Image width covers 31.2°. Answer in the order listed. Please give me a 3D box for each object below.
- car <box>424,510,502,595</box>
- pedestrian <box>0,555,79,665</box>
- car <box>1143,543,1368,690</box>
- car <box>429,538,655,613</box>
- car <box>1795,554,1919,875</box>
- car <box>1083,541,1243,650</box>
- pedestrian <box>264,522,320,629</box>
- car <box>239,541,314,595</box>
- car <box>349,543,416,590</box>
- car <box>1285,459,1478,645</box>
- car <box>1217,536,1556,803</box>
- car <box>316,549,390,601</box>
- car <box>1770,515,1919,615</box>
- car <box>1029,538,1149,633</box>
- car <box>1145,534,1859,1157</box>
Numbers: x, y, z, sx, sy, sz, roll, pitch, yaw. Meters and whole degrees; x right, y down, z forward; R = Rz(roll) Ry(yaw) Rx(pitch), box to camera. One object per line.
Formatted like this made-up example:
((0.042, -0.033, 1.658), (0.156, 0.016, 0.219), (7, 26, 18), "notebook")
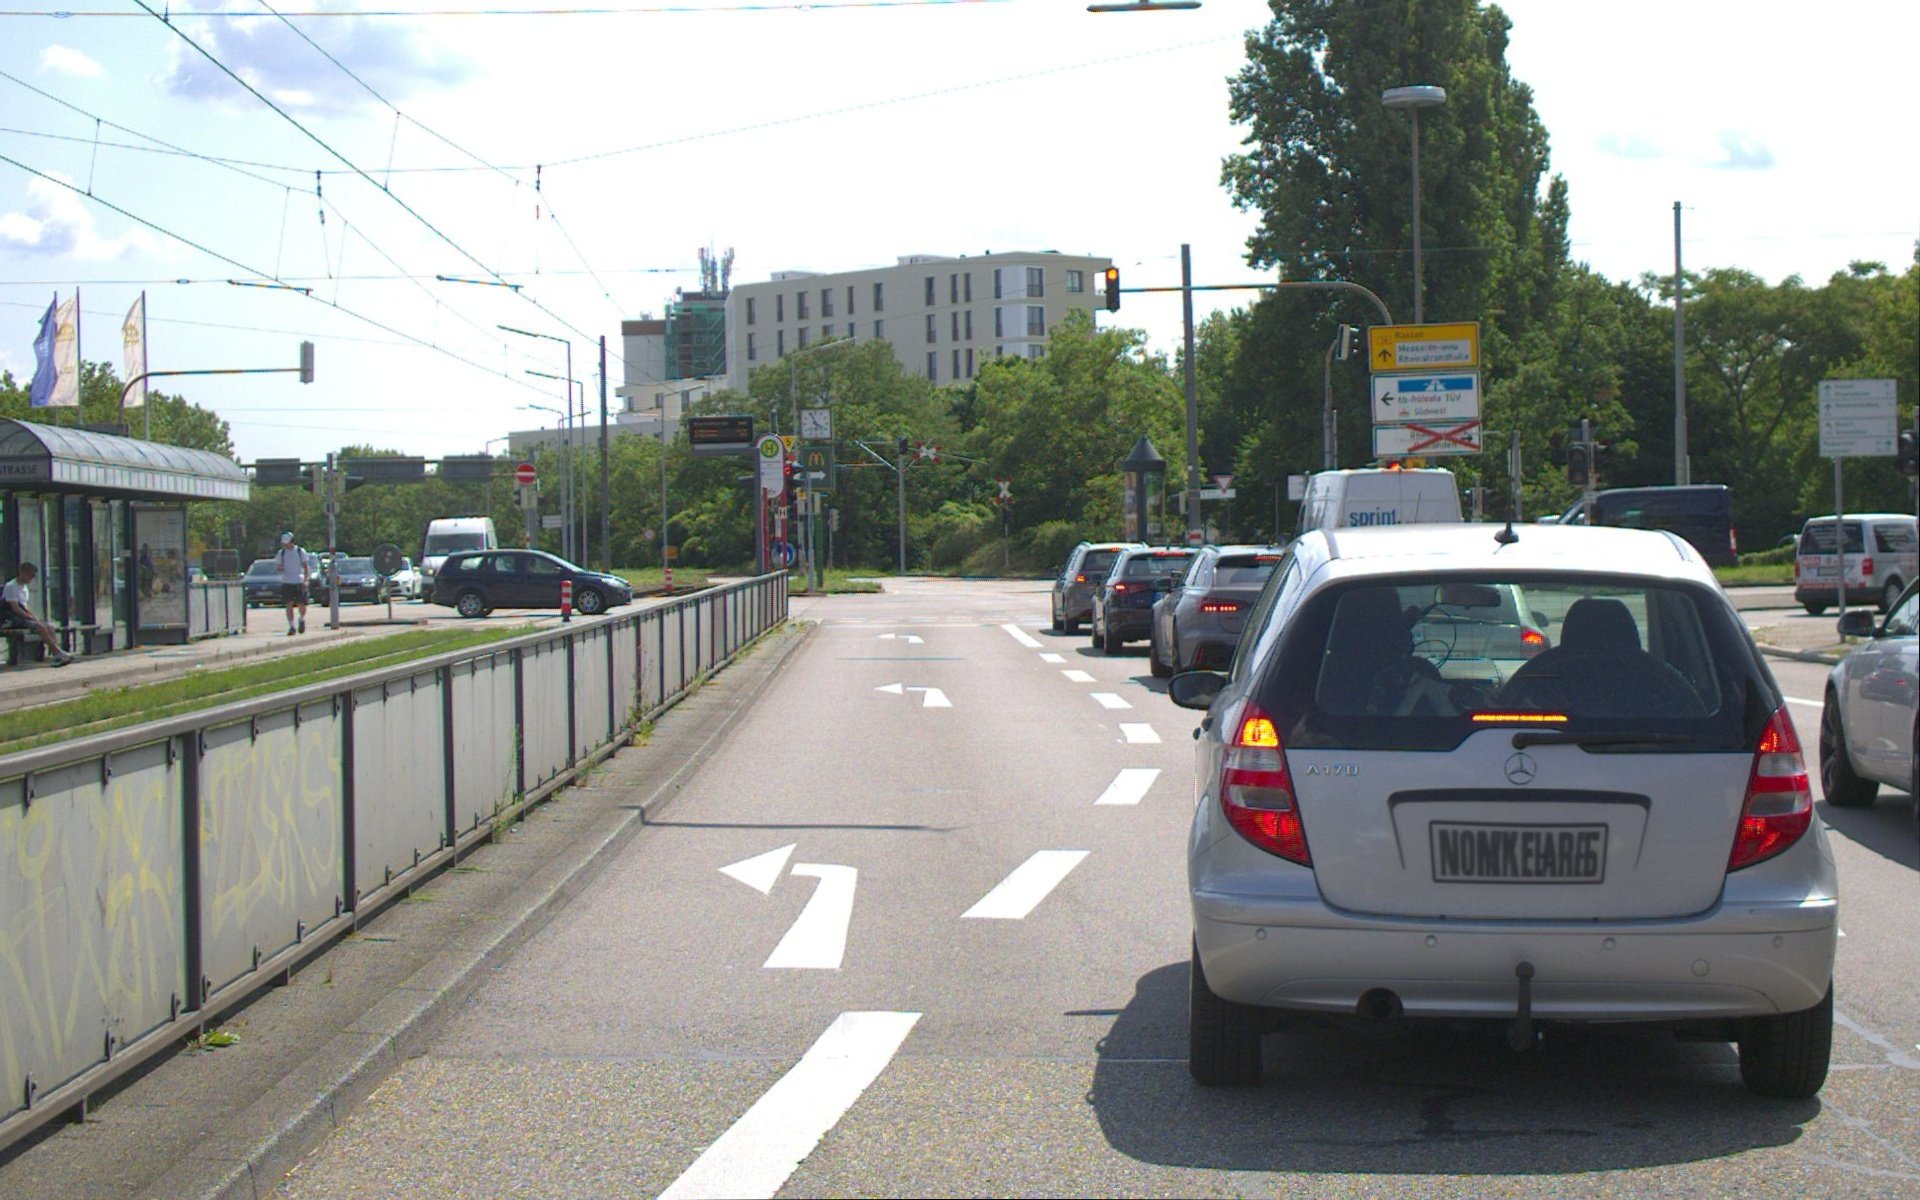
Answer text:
((-15.540, -1.483, 107.720), (1.993, 2.597, 4.879), (0, 1, -3), "car")
((-11.794, 0.119, 43.517), (1.058, 1.371, 0.860), (0, 1, -1), "pedestrian")
((3.051, 0.122, 36.427), (1.887, 1.443, 4.828), (0, 1, -1), "car")
((-9.331, -0.563, 76.973), (4.675, 1.543, 2.000), (-1, 1, 4), "car")
((5.584, 0.521, 17.651), (1.855, 1.487, 4.535), (0, 1, 5), "car")
((2.737, -0.099, 47.107), (1.869, 1.415, 4.100), (0, 1, -1), "car")
((-11.237, -0.417, 57.856), (0.807, 1.789, 0.709), (-1, 1, -3), "pedestrian")
((-21.316, -0.993, 107.377), (1.862, 1.645, 4.001), (0, 1, -5), "car")
((-19.109, -1.109, 113.871), (1.802, 1.536, 4.165), (0, 1, -5), "car")
((6.096, -0.712, 50.326), (2.041, 2.549, 5.232), (-1, 1, -1), "car")
((2.561, 0.346, 21.572), (1.739, 1.487, 4.629), (0, 1, 2), "car")
((-18.522, -0.773, 105.022), (1.896, 1.536, 3.730), (0, 1, -5), "car")
((16.911, -0.653, 62.592), (4.081, 1.725, 1.891), (-1, -1, -33), "car")
((2.086, -0.270, 56.563), (1.744, 1.494, 4.380), (0, 1, -1), "car")
((1.593, 0.594, 10.832), (1.787, 1.571, 4.093), (-1, 1, 6), "car")
